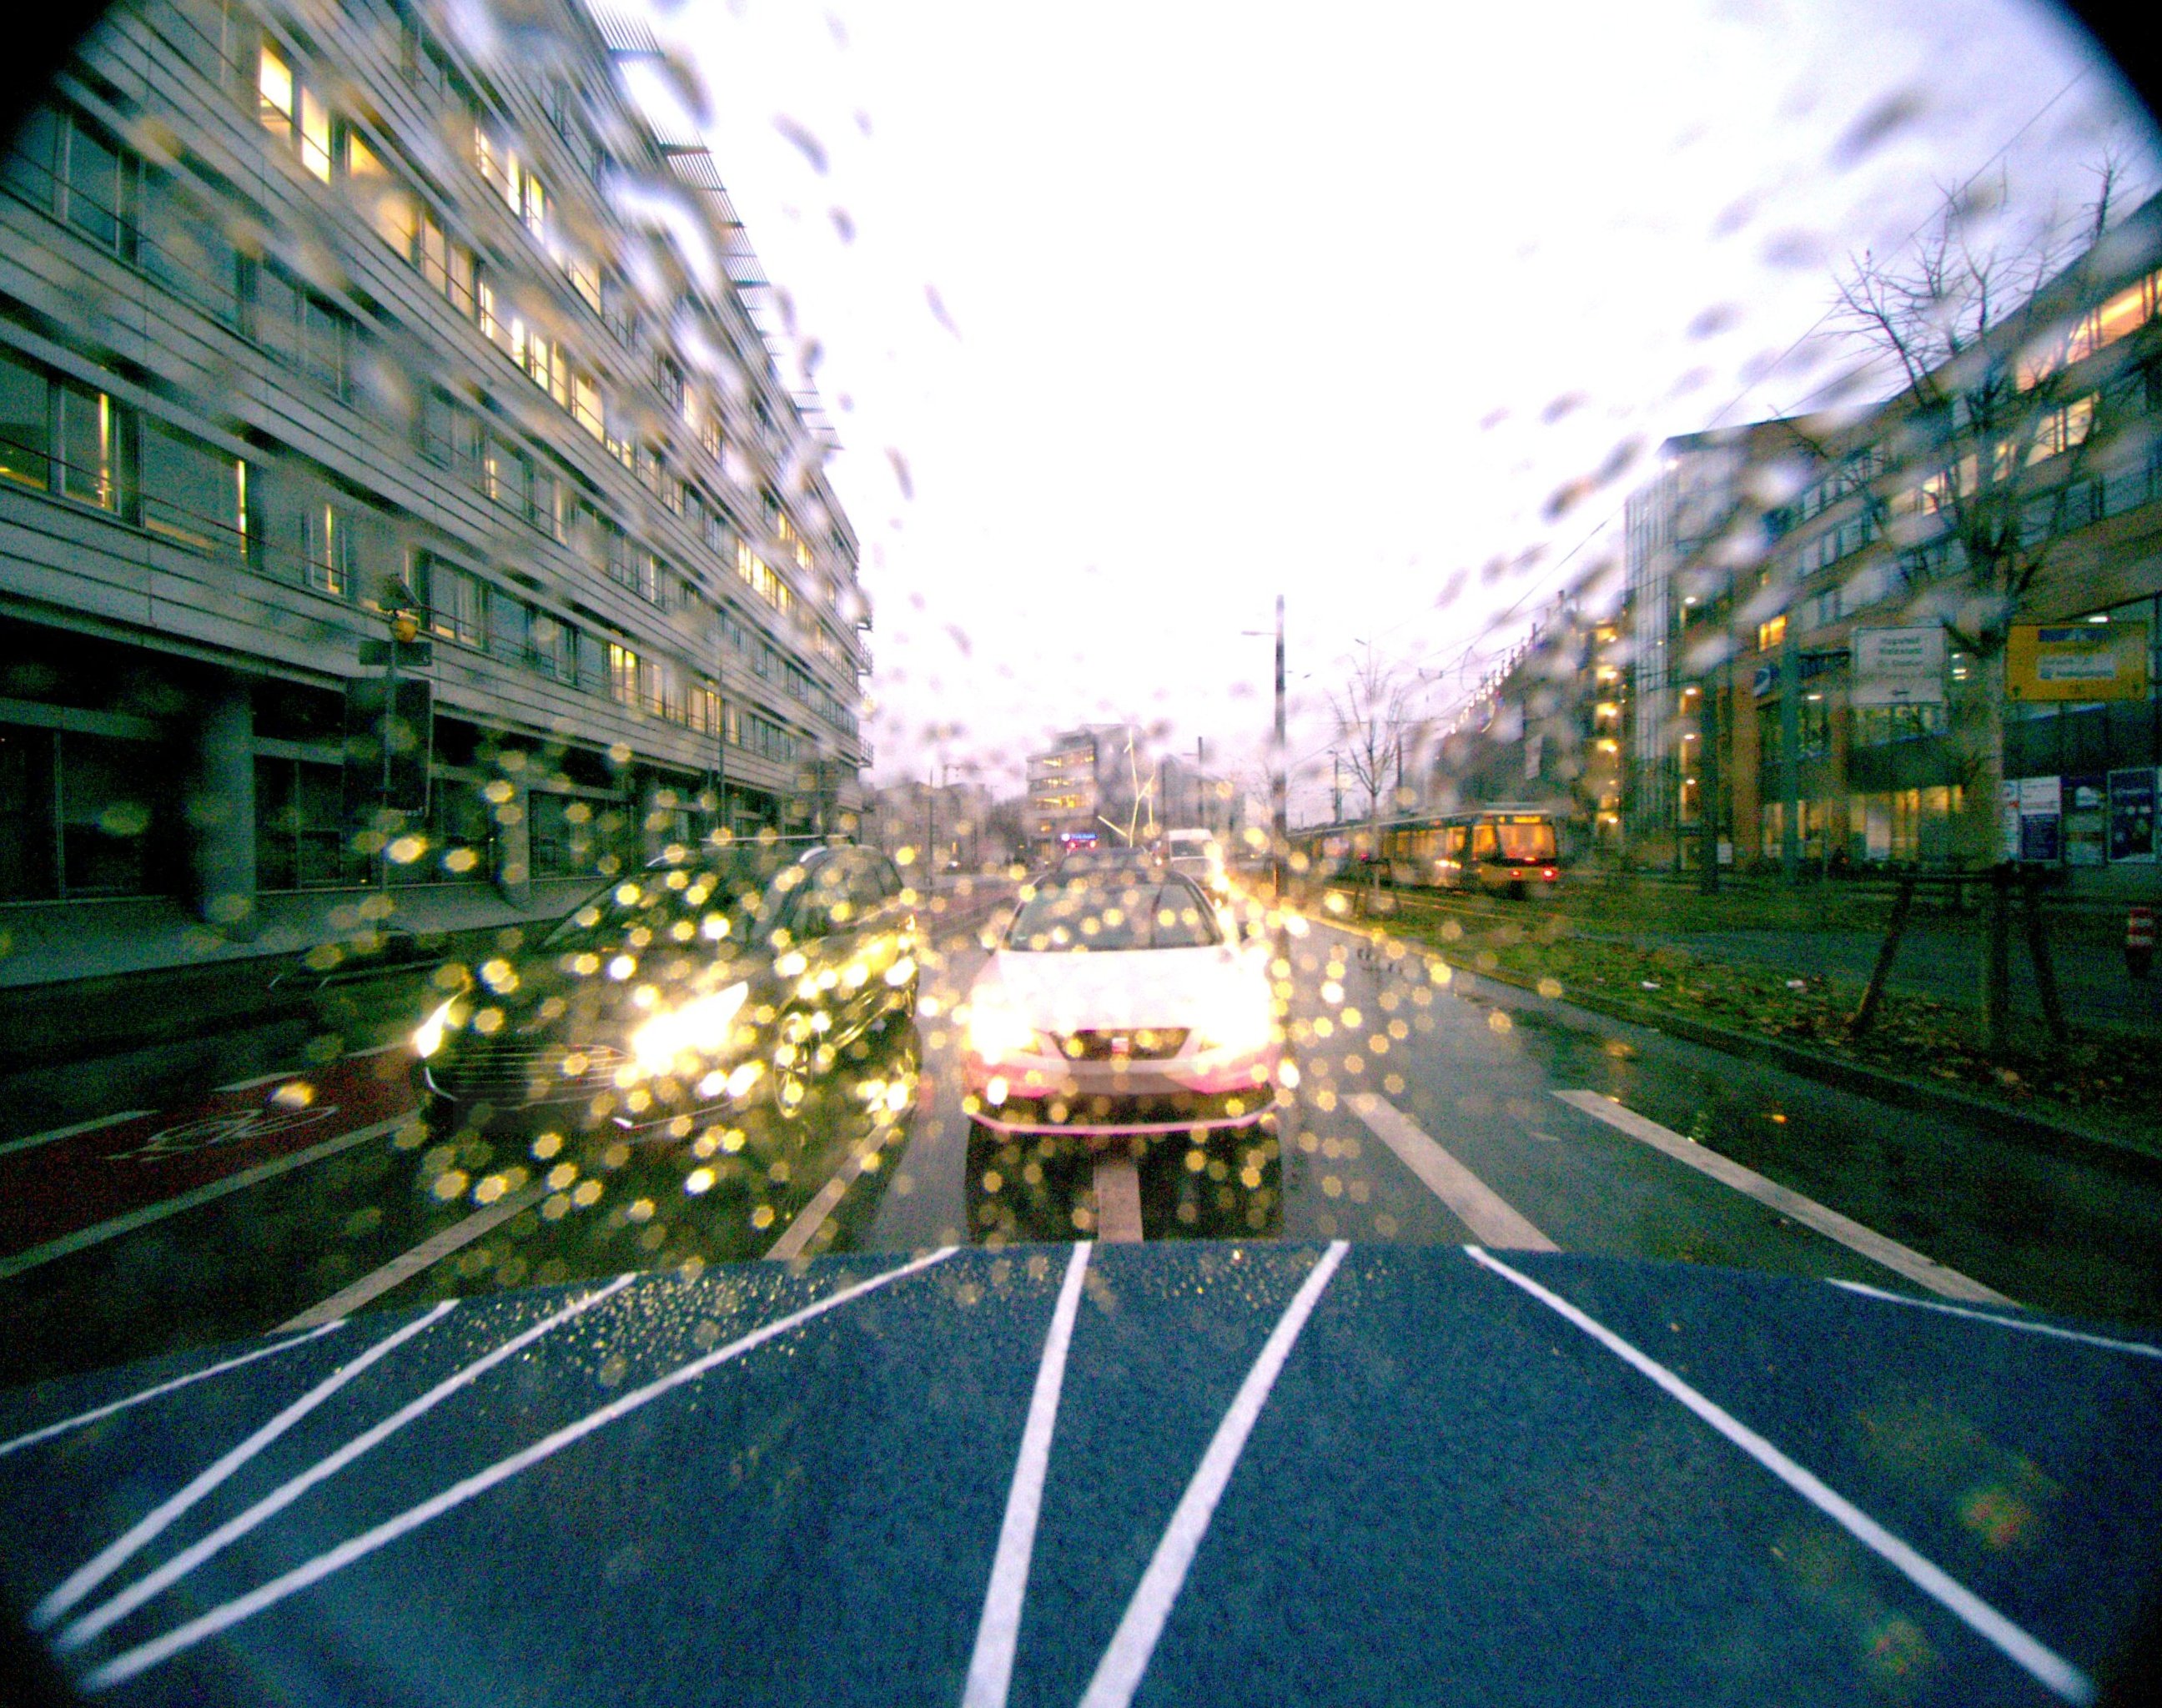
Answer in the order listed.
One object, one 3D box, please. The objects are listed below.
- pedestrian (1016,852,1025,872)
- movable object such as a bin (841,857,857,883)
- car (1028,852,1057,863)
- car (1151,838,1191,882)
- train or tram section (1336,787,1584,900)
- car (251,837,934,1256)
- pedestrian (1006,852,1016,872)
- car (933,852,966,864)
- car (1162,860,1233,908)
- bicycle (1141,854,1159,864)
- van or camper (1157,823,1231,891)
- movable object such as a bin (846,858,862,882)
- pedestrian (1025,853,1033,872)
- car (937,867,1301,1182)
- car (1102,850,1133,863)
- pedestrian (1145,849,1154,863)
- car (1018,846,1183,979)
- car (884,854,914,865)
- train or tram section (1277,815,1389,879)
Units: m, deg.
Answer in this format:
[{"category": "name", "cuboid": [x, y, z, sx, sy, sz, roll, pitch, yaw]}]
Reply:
[{"category": "pedestrian", "cuboid": [-5.320, 0.682, 66.857, 0.651, 1.692, 0.884, 1, 1, -3]}, {"category": "movable object such as a bin", "cuboid": [-13.252, 0.910, 43.385, 0.666, 1.420, 0.840, -1, 1, -2]}, {"category": "car", "cuboid": [-5.508, 0.496, 108.603, 3.759, 1.528, 1.783, 0, 0, 18]}, {"category": "car", "cuboid": [6.160, 0.359, 52.626, 2.129, 2.847, 5.813, -1, 0, 1]}, {"category": "train or tram section", "cuboid": [15.245, -0.394, 33.732, 2.870, 3.593, 19.218, 0, 0, 5]}, {"category": "car", "cuboid": [-2.610, 0.849, 5.679, 1.887, 1.800, 4.671, -2, 0, 2]}, {"category": "pedestrian", "cuboid": [-6.208, 0.721, 67.280, 0.747, 1.692, 0.969, 2, 1, -3]}, {"category": "car", "cuboid": [-19.564, 0.644, 113.169, 4.368, 1.750, 2.002, -1, 1, 17]}, {"category": "car", "cuboid": [3.541, 0.929, 23.741, 1.759, 1.337, 4.059, -1, -2, 3]}, {"category": "bicycle", "cuboid": [8.671, 0.595, 95.755, 2.207, 1.182, 0.667, 0, 1, -16]}, {"category": "van or camper", "cuboid": [4.526, 0.083, 31.384, 2.153, 2.517, 5.898, -1, 0, 0]}, {"category": "movable object such as a bin", "cuboid": [-13.247, 0.923, 44.281, 0.666, 1.420, 0.840, -1, 1, -2]}, {"category": "pedestrian", "cuboid": [-4.571, 0.761, 66.875, 0.616, 1.659, 0.884, 1, 1, -3]}, {"category": "car", "cuboid": [0.214, 0.881, 5.726, 1.782, 1.464, 3.943, -1, 0, 1]}, {"category": "car", "cuboid": [5.087, 0.307, 105.832, 3.918, 1.699, 1.782, -1, 1, 14]}, {"category": "pedestrian", "cuboid": [8.648, 0.243, 95.742, 0.894, 1.783, 0.667, 0, 1, -15]}, {"category": "car", "cuboid": [0.282, 0.783, 12.385, 2.169, 1.744, 4.542, -1, 0, 0]}, {"category": "car", "cuboid": [-27.836, 0.836, 116.073, 3.996, 1.663, 2.002, -1, 1, 17]}, {"category": "train or tram section", "cuboid": [16.869, -0.471, 53.184, 2.870, 3.593, 20.077, 0, 0, 5]}]
